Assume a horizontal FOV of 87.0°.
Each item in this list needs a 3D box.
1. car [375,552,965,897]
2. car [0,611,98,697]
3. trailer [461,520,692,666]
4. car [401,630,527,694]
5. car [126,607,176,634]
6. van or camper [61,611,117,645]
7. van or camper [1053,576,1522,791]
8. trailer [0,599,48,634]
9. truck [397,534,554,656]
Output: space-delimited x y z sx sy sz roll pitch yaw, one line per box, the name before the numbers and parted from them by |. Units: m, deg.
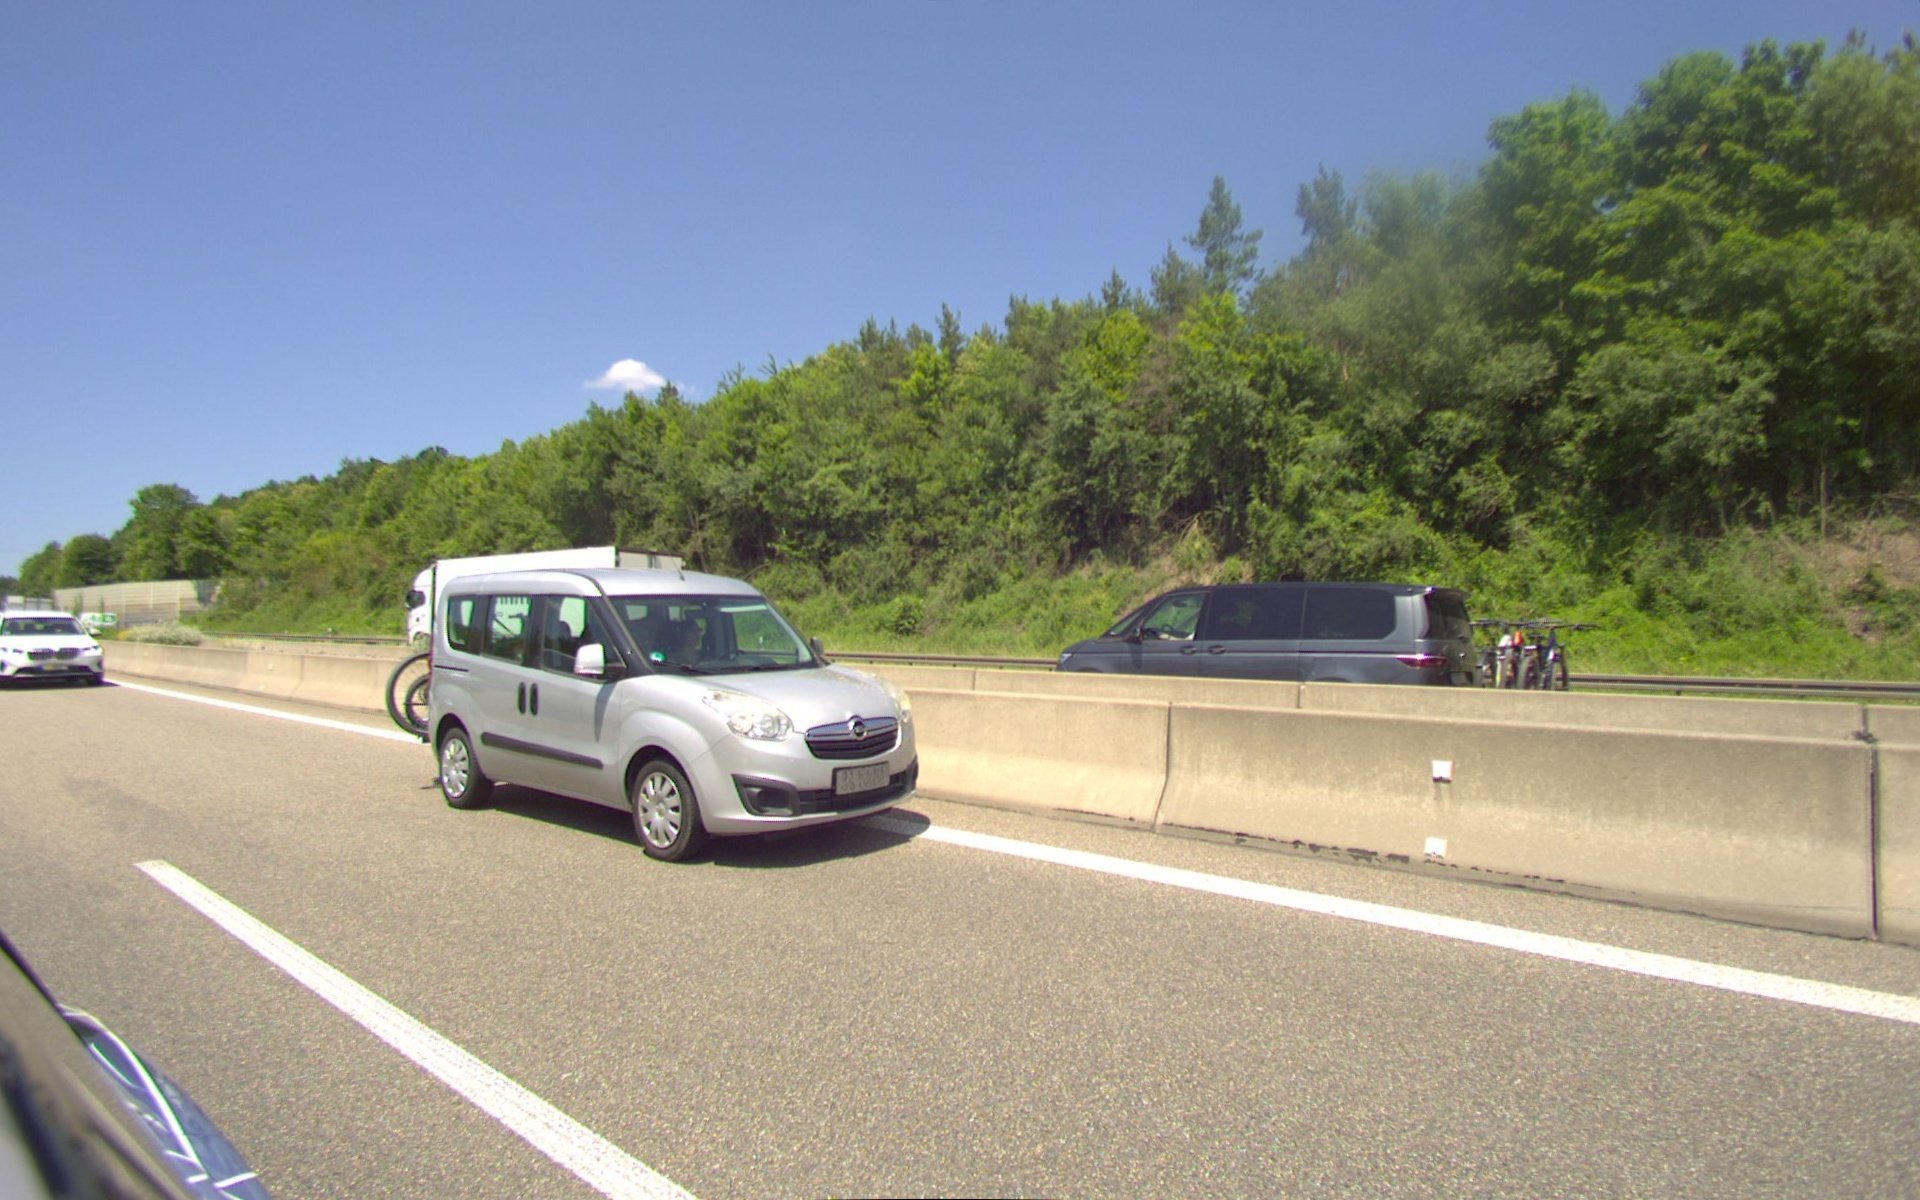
car | -2.423 0.648 7.545 4.914 1.786 1.833 0 0 40
car | -20.804 1.125 22.590 3.998 1.719 1.801 0 0 41
trailer | -13.935 -0.219 36.031 10.810 4.515 2.919 0 0 41
car | -15.921 1.927 32.425 4.447 1.776 1.974 0 0 39
car | -63.065 1.554 78.874 4.472 2.029 2.093 0 0 38
van or camper | -63.762 2.014 74.069 4.798 2.403 1.976 -1 -2 36
van or camper | 3.658 0.793 11.981 4.927 2.029 1.972 0 0 43
trailer | -109.354 1.834 118.115 11.393 3.901 2.966 0 0 41
truck | -19.740 -0.175 41.000 7.512 4.515 2.919 0 0 40
